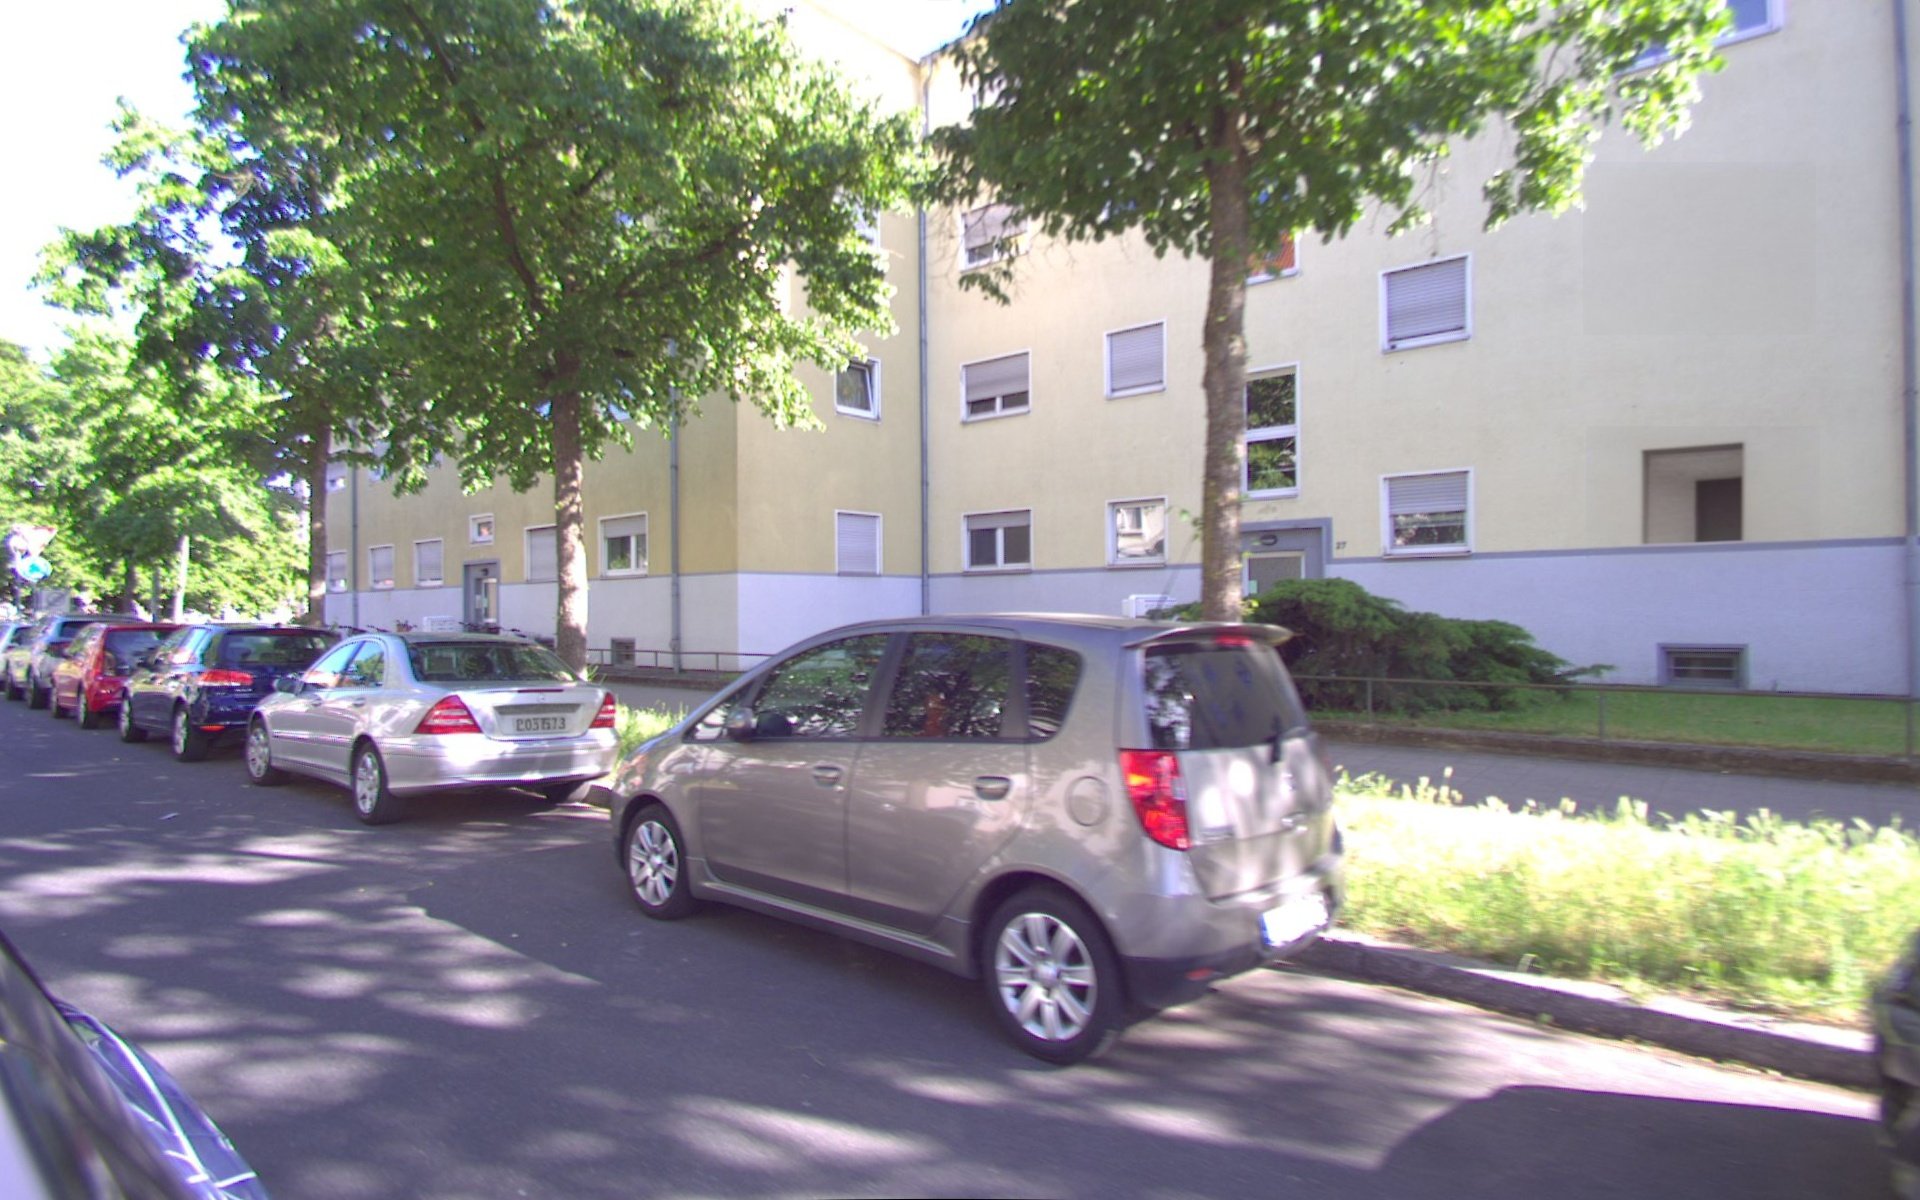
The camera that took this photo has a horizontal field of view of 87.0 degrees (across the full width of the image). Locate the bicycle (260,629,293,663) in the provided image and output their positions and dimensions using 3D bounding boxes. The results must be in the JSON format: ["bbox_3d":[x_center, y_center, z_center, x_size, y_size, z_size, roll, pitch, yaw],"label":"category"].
[{"bbox_3d":[-21.052,1.414,31.140,1.544,1.008,0.471,-2,-2,41],"label":"bicycle"}]

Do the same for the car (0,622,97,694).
[{"bbox_3d":[-20.964,1.247,22.637,3.988,1.453,1.743,-1,-1,38],"label":"car"}]

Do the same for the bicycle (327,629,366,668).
[{"bbox_3d":[-16.655,1.298,27.455,1.681,1.008,0.430,-2,-2,41],"label":"bicycle"}]

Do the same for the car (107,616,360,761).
[{"bbox_3d":[-8.905,0.957,12.288,3.930,1.470,1.647,-2,-1,41],"label":"car"}]

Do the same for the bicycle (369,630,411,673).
[{"bbox_3d":[-14.086,1.256,25.000,1.545,1.008,0.509,-2,-2,44],"label":"bicycle"}]

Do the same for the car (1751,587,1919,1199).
[{"bbox_3d":[3.868,0.692,1.039,4.687,1.455,1.772,-2,-3,43],"label":"car"}]

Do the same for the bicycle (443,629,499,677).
[{"bbox_3d":[-10.908,1.161,22.549,1.748,1.034,0.534,-1,-1,42],"label":"bicycle"}]

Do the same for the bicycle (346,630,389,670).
[{"bbox_3d":[-15.303,1.276,26.141,1.544,1.008,0.506,-2,-2,41],"label":"bicycle"}]

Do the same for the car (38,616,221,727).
[{"bbox_3d":[-12.681,1.013,15.405,3.254,1.497,1.647,-2,-1,41],"label":"car"}]

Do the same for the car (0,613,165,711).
[{"bbox_3d":[-16.148,1.051,18.400,4.730,1.577,1.675,-2,-1,39],"label":"car"}]

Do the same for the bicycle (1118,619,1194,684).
[{"bbox_3d":[3.050,0.773,15.641,0.480,0.938,1.617,-1,-2,38],"label":"bicycle"}]

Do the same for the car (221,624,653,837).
[{"bbox_3d":[-4.714,0.901,8.765,4.671,1.379,1.727,-1,-2,41],"label":"car"}]

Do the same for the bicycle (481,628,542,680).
[{"bbox_3d":[-9.446,1.114,21.287,1.748,1.034,0.530,-1,-1,43],"label":"bicycle"}]

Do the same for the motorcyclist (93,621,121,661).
[{"bbox_3d":[-30.390,1.468,36.066,0.547,1.413,0.519,-1,-1,4],"label":"motorcyclist"}]

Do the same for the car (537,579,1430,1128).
[{"bbox_3d":[-0.240,0.775,4.869,4.267,1.527,1.603,-1,-3,42],"label":"car"}]

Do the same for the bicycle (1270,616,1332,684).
[{"bbox_3d":[4.990,0.707,14.765,0.479,0.938,1.619,-1,-2,32],"label":"bicycle"}]

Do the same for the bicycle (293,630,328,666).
[{"bbox_3d":[-18.573,1.355,28.923,1.544,1.008,0.448,-2,-2,41],"label":"bicycle"}]
